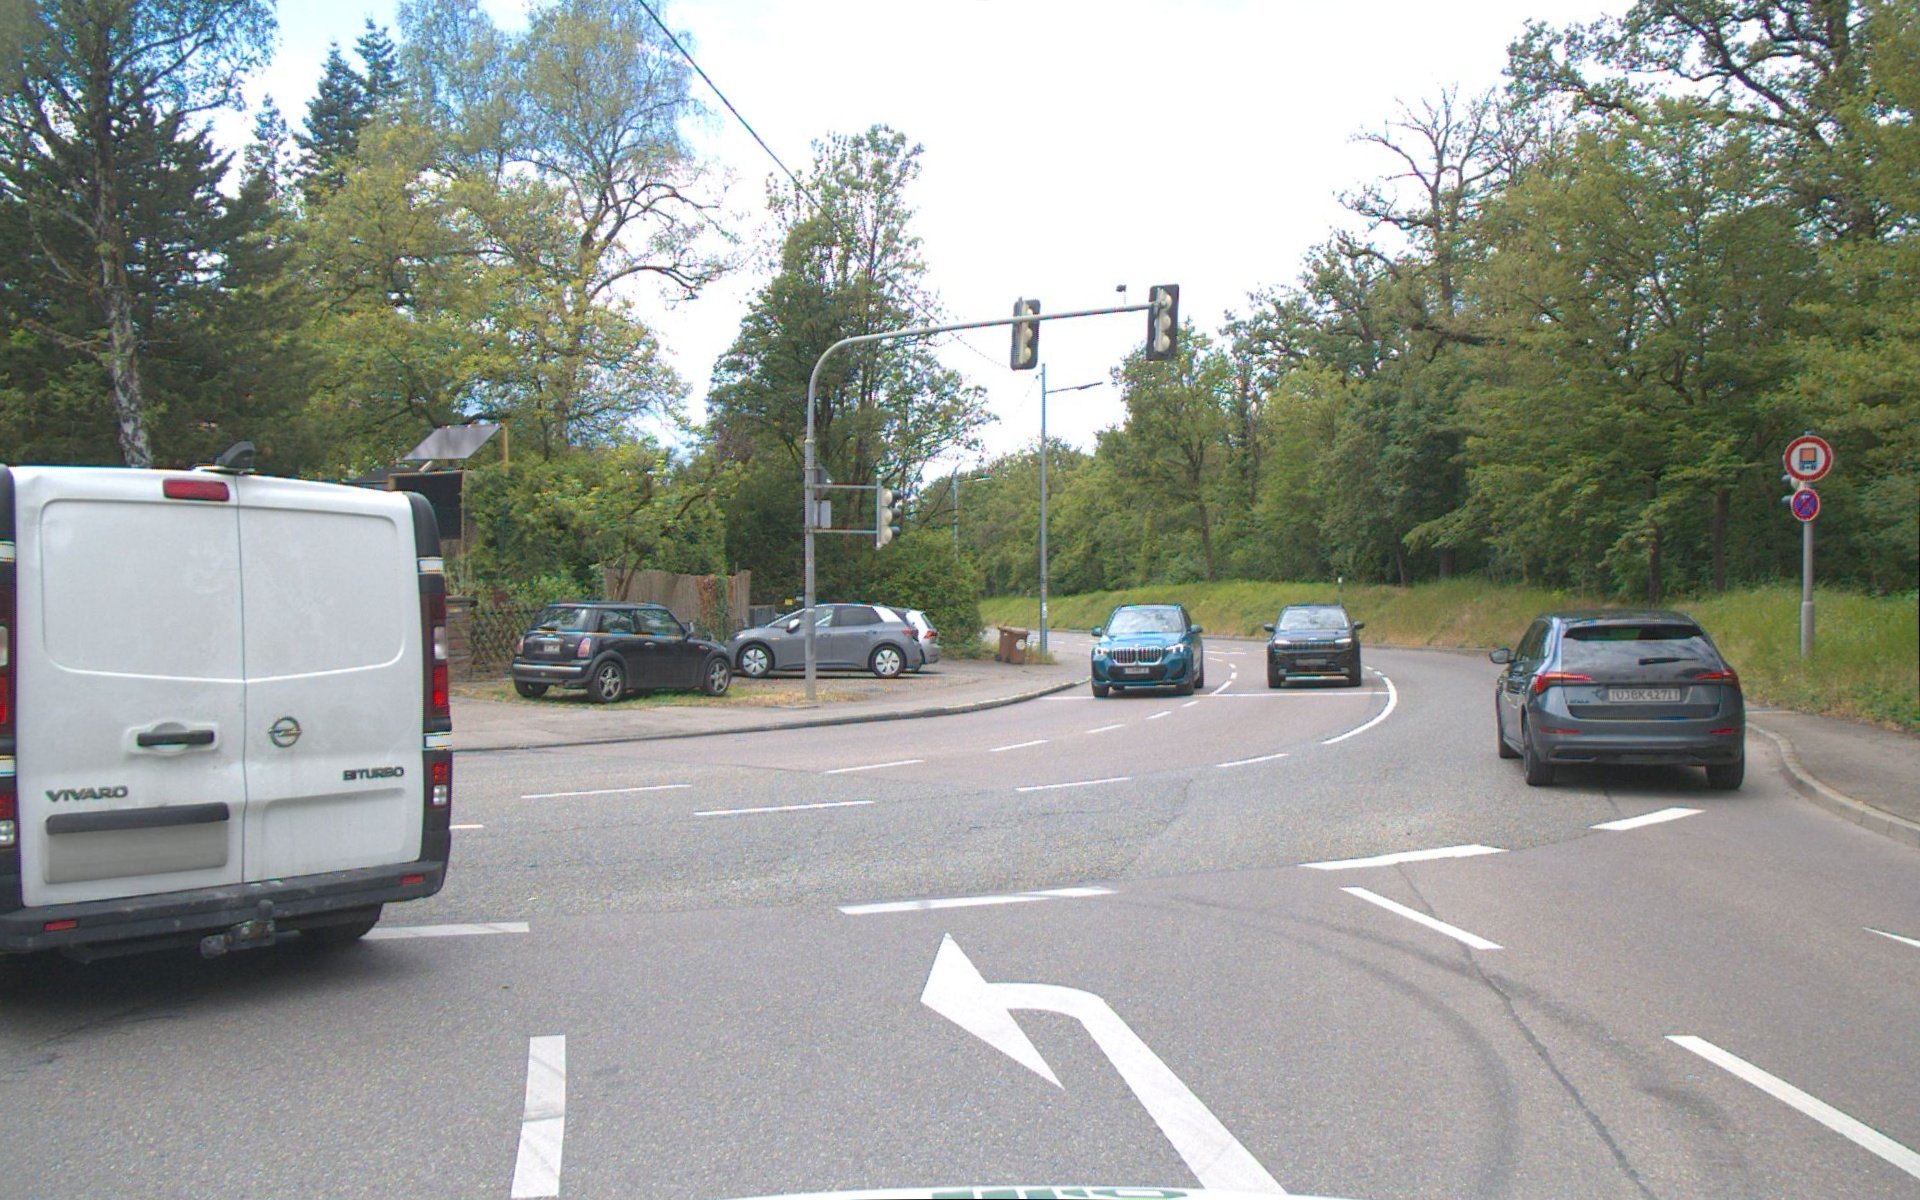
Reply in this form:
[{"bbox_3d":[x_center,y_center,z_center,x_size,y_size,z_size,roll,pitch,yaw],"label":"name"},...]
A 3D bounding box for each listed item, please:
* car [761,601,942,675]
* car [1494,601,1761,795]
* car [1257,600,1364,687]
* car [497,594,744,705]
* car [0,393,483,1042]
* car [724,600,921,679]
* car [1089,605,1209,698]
[{"bbox_3d":[-2.469,0.841,37.631,4.005,1.580,1.853,0,1,-4],"label":"car"},{"bbox_3d":[5.864,0.762,14.963,1.754,1.476,4.003,0,0,15],"label":"car"},{"bbox_3d":[6.835,0.811,32.585,1.777,1.533,4.003,-2,0,8],"label":"car"},{"bbox_3d":[-4.999,0.699,24.769,1.666,1.474,3.536,2,1,30],"label":"car"},{"bbox_3d":[-4.216,0.372,7.478,4.533,2.089,1.911,0,0,43],"label":"car"},{"bbox_3d":[-2.867,0.801,34.715,4.005,1.580,1.853,0,1,-4],"label":"car"},{"bbox_3d":[3.589,0.905,30.866,1.817,1.533,4.004,-2,0,12],"label":"car"}]
